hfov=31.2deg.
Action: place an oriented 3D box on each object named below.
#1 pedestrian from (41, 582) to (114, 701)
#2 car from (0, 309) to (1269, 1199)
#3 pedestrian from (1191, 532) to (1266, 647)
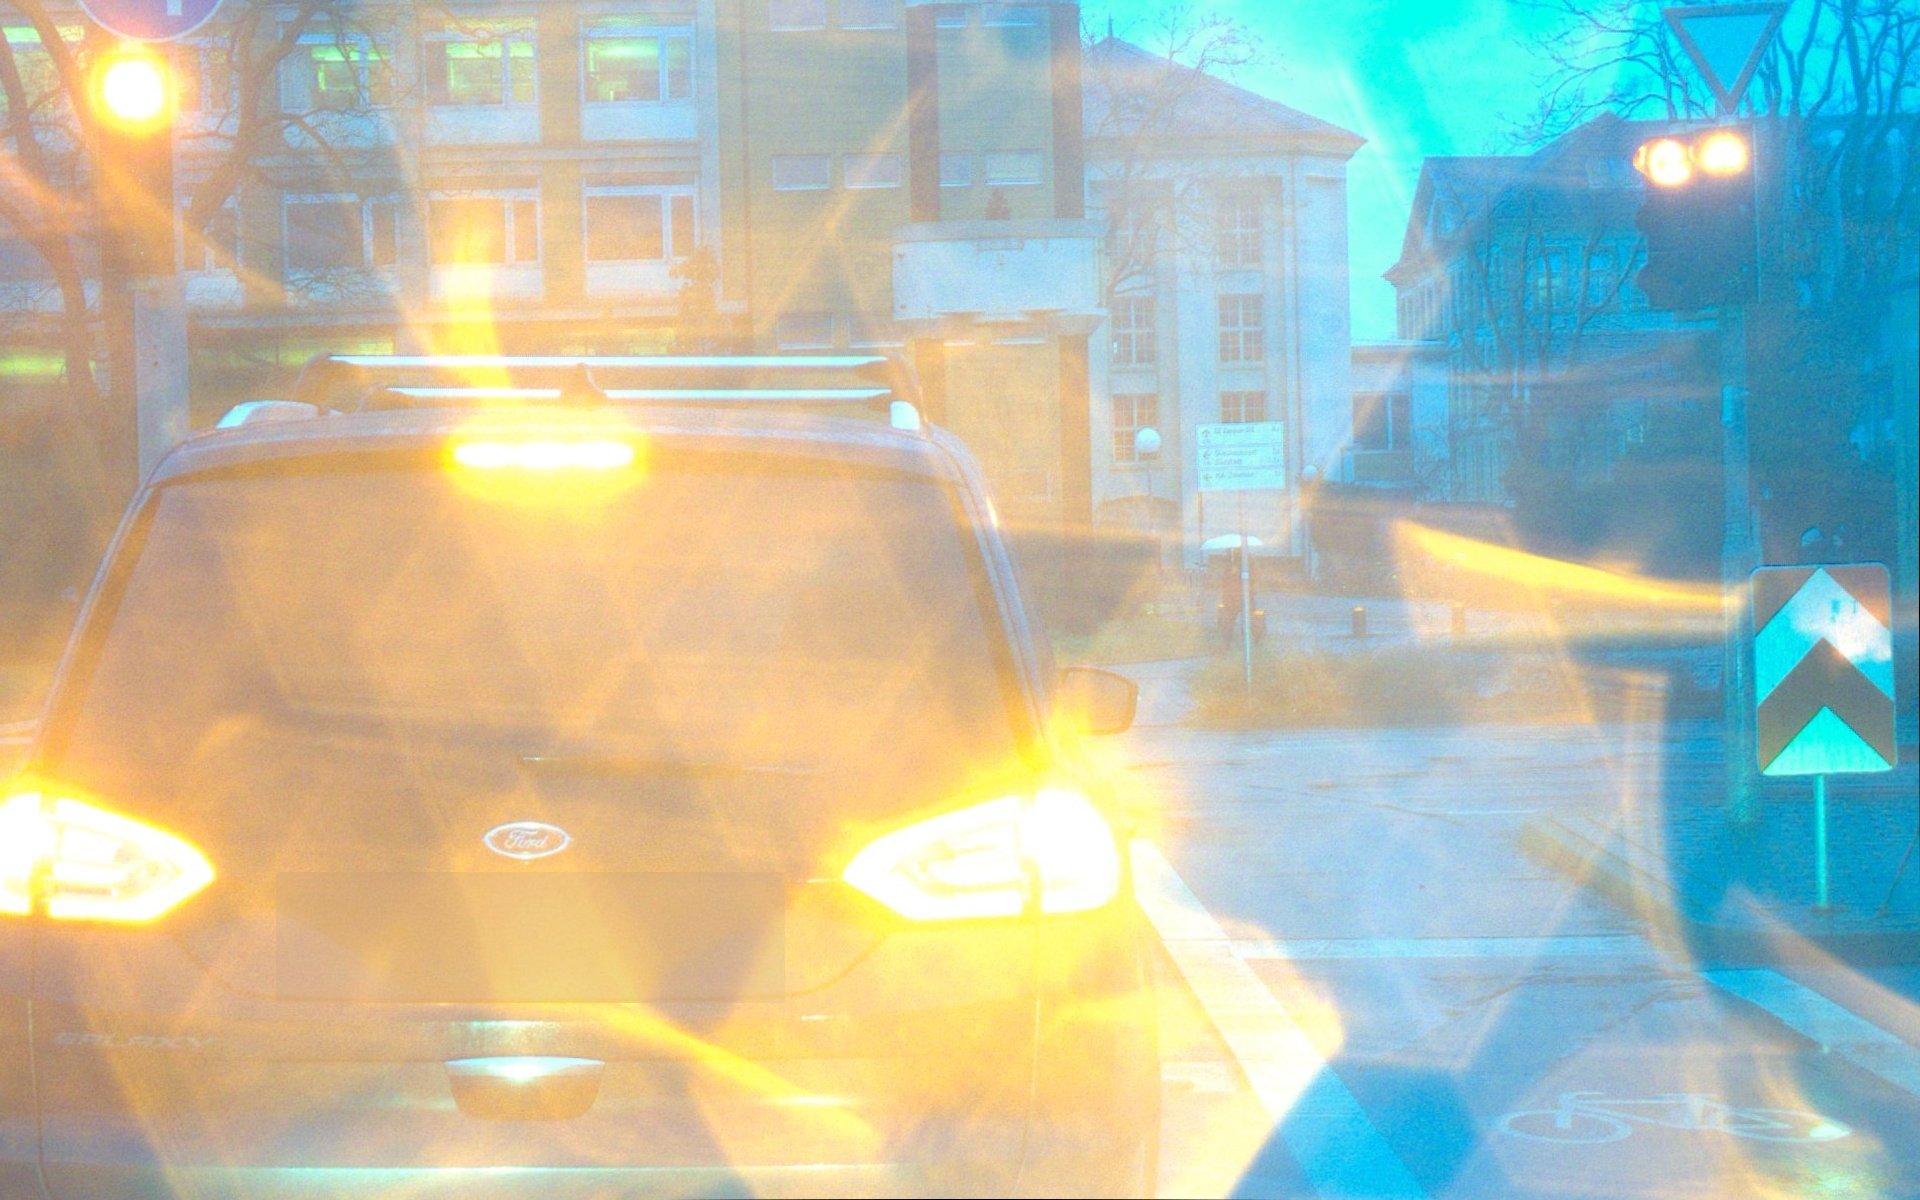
[{"bbox_3d":[-12.396,0.582,48.283,0.760,1.622,0.557,-2,1,13],"label":"pedestrian"},{"bbox_3d":[-0.620,0.495,6.575,1.993,1.783,4.000,1,1,-1],"label":"car"},{"bbox_3d":[3.894,-0.154,49.820,0.721,1.622,0.760,-1,2,43],"label":"pedestrian"}]
